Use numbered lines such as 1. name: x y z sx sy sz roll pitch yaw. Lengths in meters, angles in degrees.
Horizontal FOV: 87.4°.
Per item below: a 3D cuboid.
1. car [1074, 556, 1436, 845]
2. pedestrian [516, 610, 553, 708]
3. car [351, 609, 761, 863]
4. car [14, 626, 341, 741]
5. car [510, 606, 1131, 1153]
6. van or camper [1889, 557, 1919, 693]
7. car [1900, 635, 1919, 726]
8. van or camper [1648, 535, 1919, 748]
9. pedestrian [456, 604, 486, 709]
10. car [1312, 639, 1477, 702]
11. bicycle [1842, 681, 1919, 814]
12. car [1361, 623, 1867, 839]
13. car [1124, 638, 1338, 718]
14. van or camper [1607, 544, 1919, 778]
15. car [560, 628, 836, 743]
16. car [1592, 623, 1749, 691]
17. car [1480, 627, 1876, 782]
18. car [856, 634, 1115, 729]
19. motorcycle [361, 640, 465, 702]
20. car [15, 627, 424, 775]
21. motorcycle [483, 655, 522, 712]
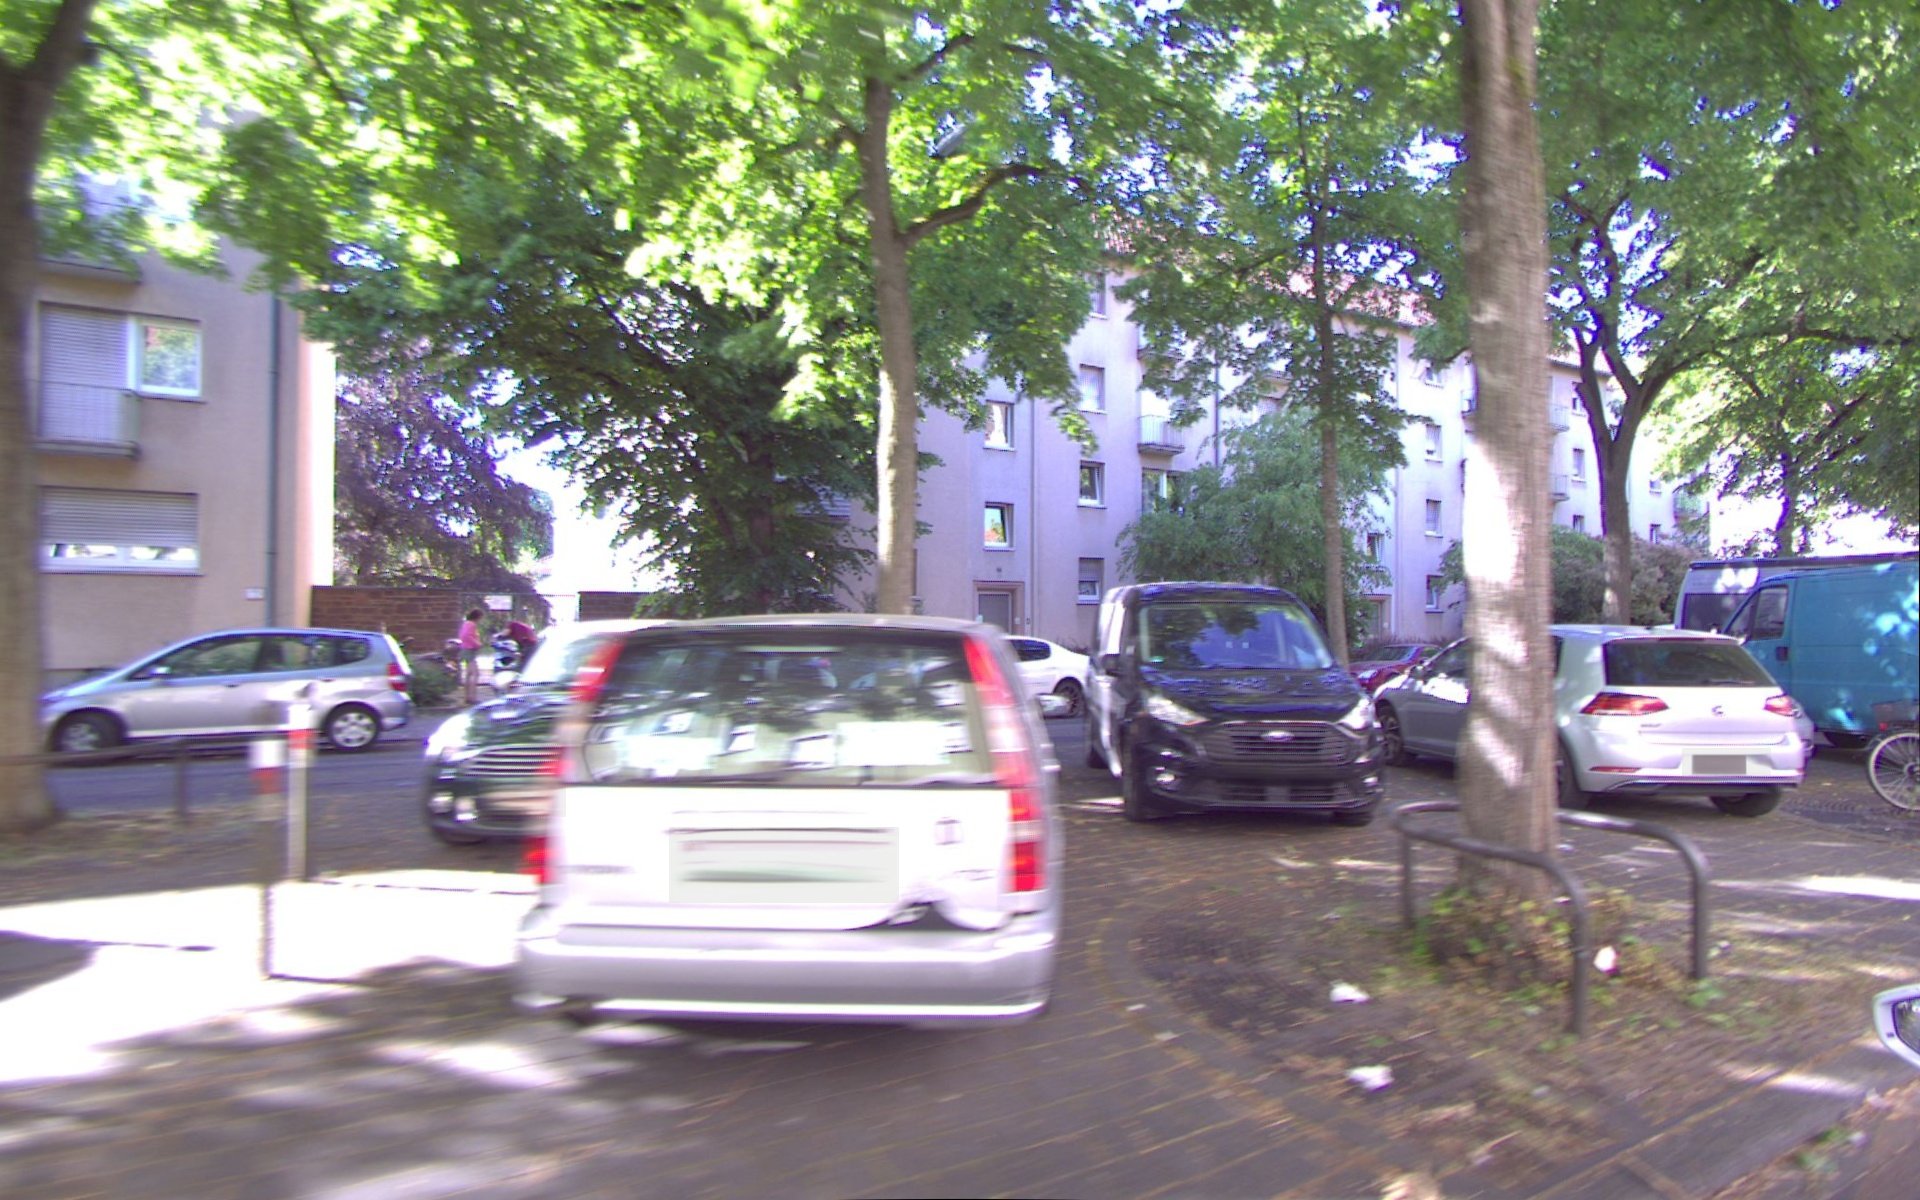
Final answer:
1. car: 2.084 0.685 8.506 1.774 1.787 4.562 0 -1 1
2. pedestrian: -7.754 1.070 18.301 0.552 1.750 0.497 1 -2 -30
3. car: -2.657 0.824 7.531 1.642 1.443 3.574 0 -1 0
4. car: -11.266 1.149 14.797 3.569 1.501 1.617 1 -2 -30
5. car: -0.275 0.810 4.981 1.698 1.462 4.491 0 -2 3
6. van or camper: 24.364 0.500 21.598 2.446 3.283 6.678 0 -2 -1
7. car: 16.177 1.227 14.293 1.787 1.433 3.965 0 -2 -2
8. van or camper: 13.174 0.581 14.630 2.210 2.672 5.888 0 -2 0
9. pedestrian: -8.801 1.010 18.076 0.457 1.851 0.497 1 -2 -30
10. car: 9.843 1.539 22.713 3.624 1.291 1.610 1 -2 -30
11. bicycle: 8.141 1.179 7.922 1.694 1.019 0.510 -1 -2 31
12. car: 5.267 0.946 8.850 1.810 1.462 3.956 0 -1 -1
13. car: 5.532 1.515 20.390 4.311 1.443 1.656 1 -2 -30
14. van or camper: 10.411 0.645 11.393 2.178 2.305 5.512 0 -2 -6
15. car: -3.896 1.186 15.066 3.725 1.519 1.656 1 -2 -30
16. car: 20.626 1.614 29.114 4.787 1.827 1.809 1 -3 -29
17. car: 7.786 1.035 11.442 1.687 1.449 4.000 0 -2 1
18. car: 0.483 1.318 17.313 4.245 1.443 1.656 1 -2 -30
19. motorcycle: -10.605 1.358 19.501 1.762 1.159 0.408 1 -2 -32
20. car: -8.573 1.094 12.069 3.725 1.519 1.656 1 -2 -30
21. motorcycle: -8.107 1.448 17.777 0.530 0.932 1.769 0 -2 -28
